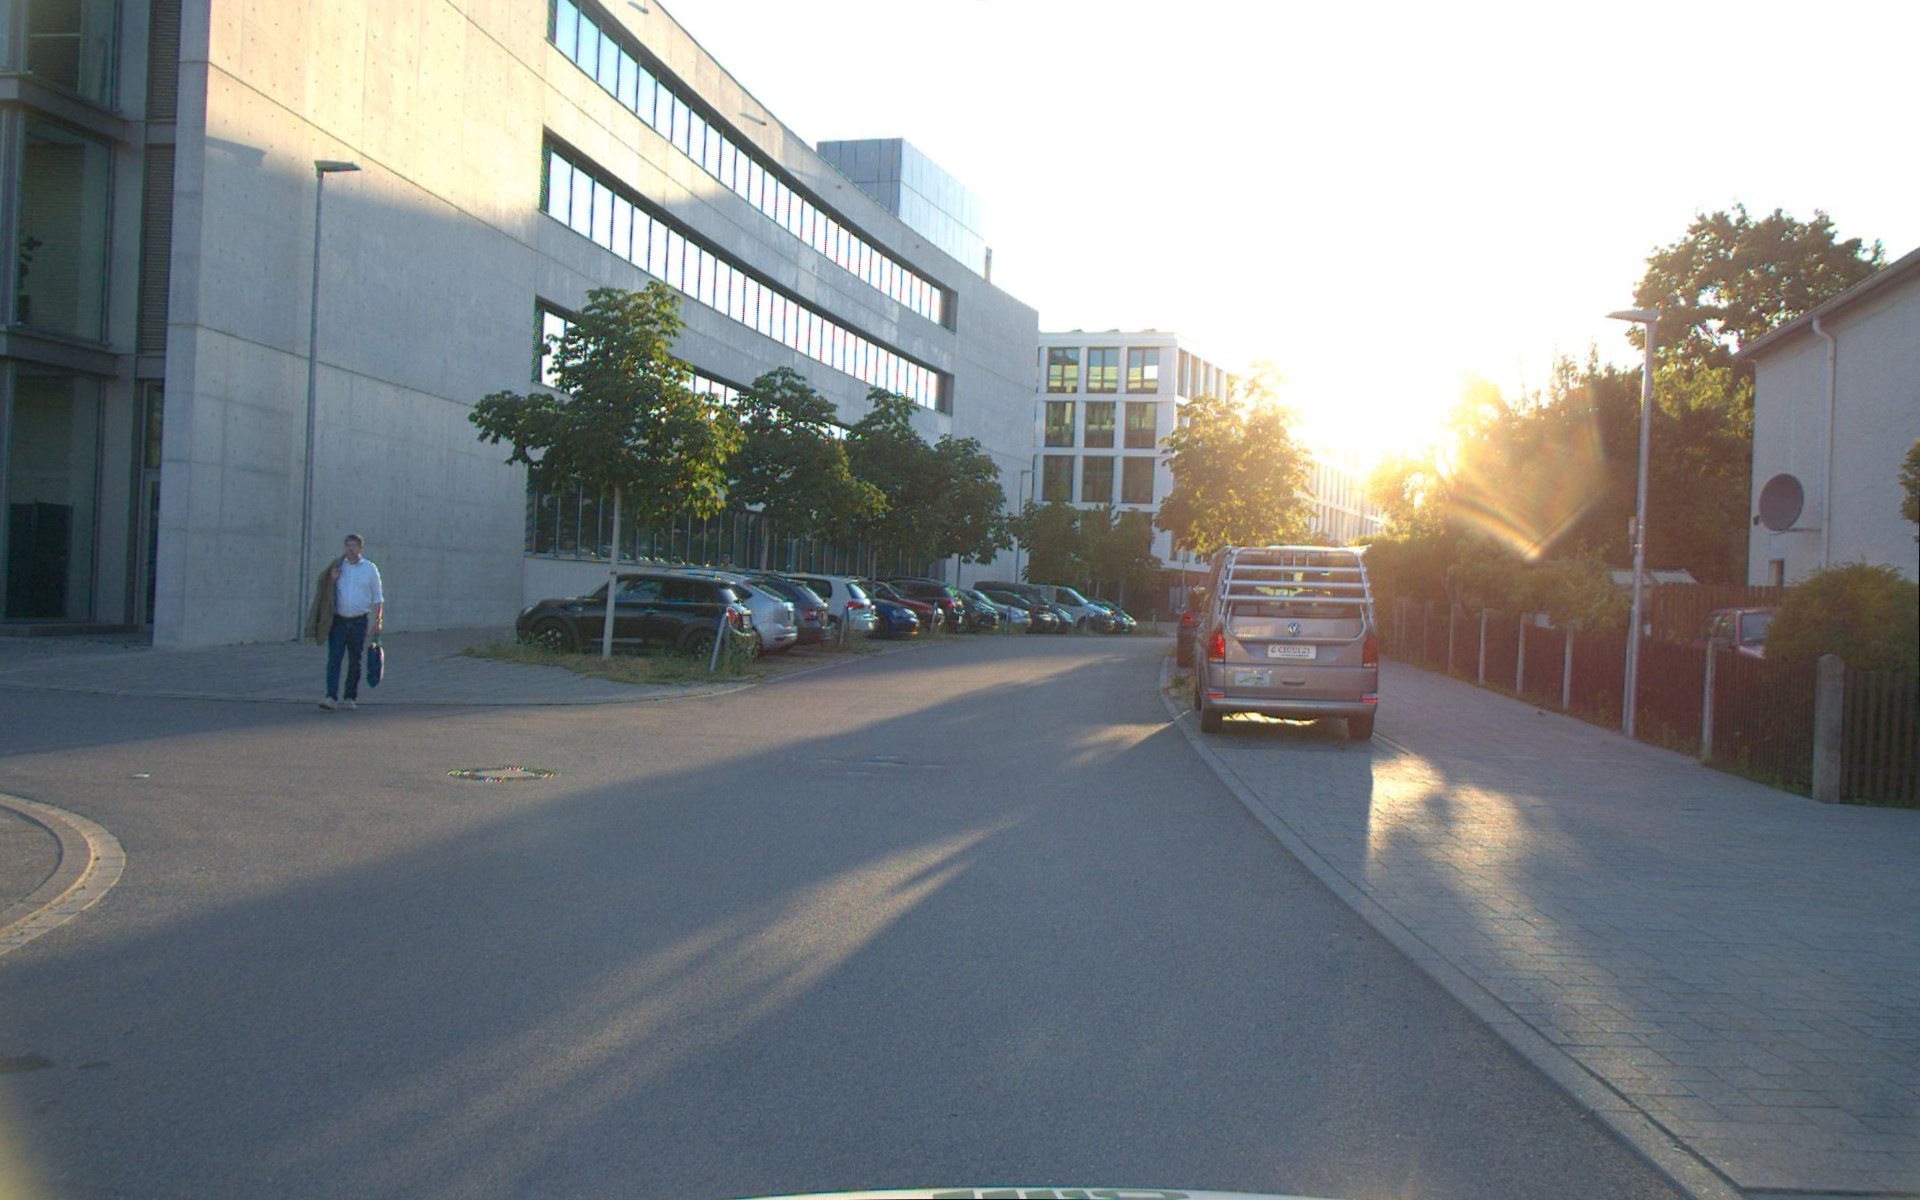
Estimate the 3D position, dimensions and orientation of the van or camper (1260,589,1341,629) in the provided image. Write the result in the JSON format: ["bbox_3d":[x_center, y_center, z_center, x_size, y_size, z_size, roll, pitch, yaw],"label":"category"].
[{"bbox_3d":[24.681,0.617,119.842,5.345,2.527,1.774,4,1,25],"label":"van or camper"}]

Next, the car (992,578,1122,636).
[{"bbox_3d":[4.068,0.289,69.211,4.971,1.980,1.890,5,0,17],"label":"car"}]

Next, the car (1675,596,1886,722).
[{"bbox_3d":[10.714,0.705,21.837,1.496,1.469,3.643,2,0,10],"label":"car"}]

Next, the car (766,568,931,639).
[{"bbox_3d":[-2.796,0.069,41.846,3.788,1.537,1.761,3,1,10],"label":"car"}]

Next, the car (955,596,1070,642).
[{"bbox_3d":[2.031,0.742,63.995,4.058,1.428,1.725,5,0,16],"label":"car"}]

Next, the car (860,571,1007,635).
[{"bbox_3d":[-0.810,0.097,51.688,4.217,1.726,1.898,3,0,12],"label":"car"}]

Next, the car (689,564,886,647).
[{"bbox_3d":[-3.742,0.099,36.281,3.903,1.537,1.761,3,1,8],"label":"car"}]

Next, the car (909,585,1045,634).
[{"bbox_3d":[0.600,0.314,57.391,4.340,1.489,1.764,3,1,16],"label":"car"}]

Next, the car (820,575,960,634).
[{"bbox_3d":[-1.970,0.130,46.982,3.623,1.483,1.713,3,0,11],"label":"car"}]

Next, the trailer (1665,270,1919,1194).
[{"bbox_3d":[3.372,0.349,2.800,2.022,2.250,5.222,1,0,-1],"label":"trailer"}]

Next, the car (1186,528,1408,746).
[{"bbox_3d":[3.710,0.351,19.042,2.021,2.131,4.876,2,0,6],"label":"car"}]

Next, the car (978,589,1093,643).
[{"bbox_3d":[2.998,0.642,65.696,4.158,1.772,1.725,5,0,16],"label":"car"}]

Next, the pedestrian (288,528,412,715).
[{"bbox_3d":[-6.354,0.208,17.234,0.841,1.882,0.897,2,1,41],"label":"pedestrian"}]

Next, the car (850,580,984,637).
[{"bbox_3d":[-1.259,0.260,48.983,3.623,1.483,1.680,3,0,12],"label":"car"}]

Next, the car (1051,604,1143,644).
[{"bbox_3d":[6.206,1.073,74.968,3.806,1.514,1.652,4,0,18],"label":"car"}]

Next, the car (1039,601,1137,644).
[{"bbox_3d":[5.609,0.991,72.379,3.904,1.548,1.606,5,0,16],"label":"car"}]

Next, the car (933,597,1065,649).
[{"bbox_3d":[1.413,0.839,59.633,4.307,1.525,1.763,5,0,20],"label":"car"}]

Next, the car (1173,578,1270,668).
[{"bbox_3d":[5.036,0.406,31.672,1.703,1.579,3.643,2,0,10],"label":"car"}]

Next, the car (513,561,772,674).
[{"bbox_3d":[-5.017,0.254,26.422,3.656,1.507,1.771,4,1,4],"label":"car"}]

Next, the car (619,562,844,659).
[{"bbox_3d":[-4.310,0.177,31.485,3.915,1.538,1.586,4,2,3],"label":"car"}]

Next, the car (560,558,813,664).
[{"bbox_3d":[-4.761,0.184,29.198,4.001,1.555,1.847,4,0,3],"label":"car"}]

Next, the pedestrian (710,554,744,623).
[{"bbox_3d":[-6.306,-0.319,44.795,0.632,1.815,0.726,3,0,10],"label":"pedestrian"}]

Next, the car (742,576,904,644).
[{"bbox_3d":[-3.240,0.231,39.566,3.556,1.385,1.687,3,1,5],"label":"car"}]
